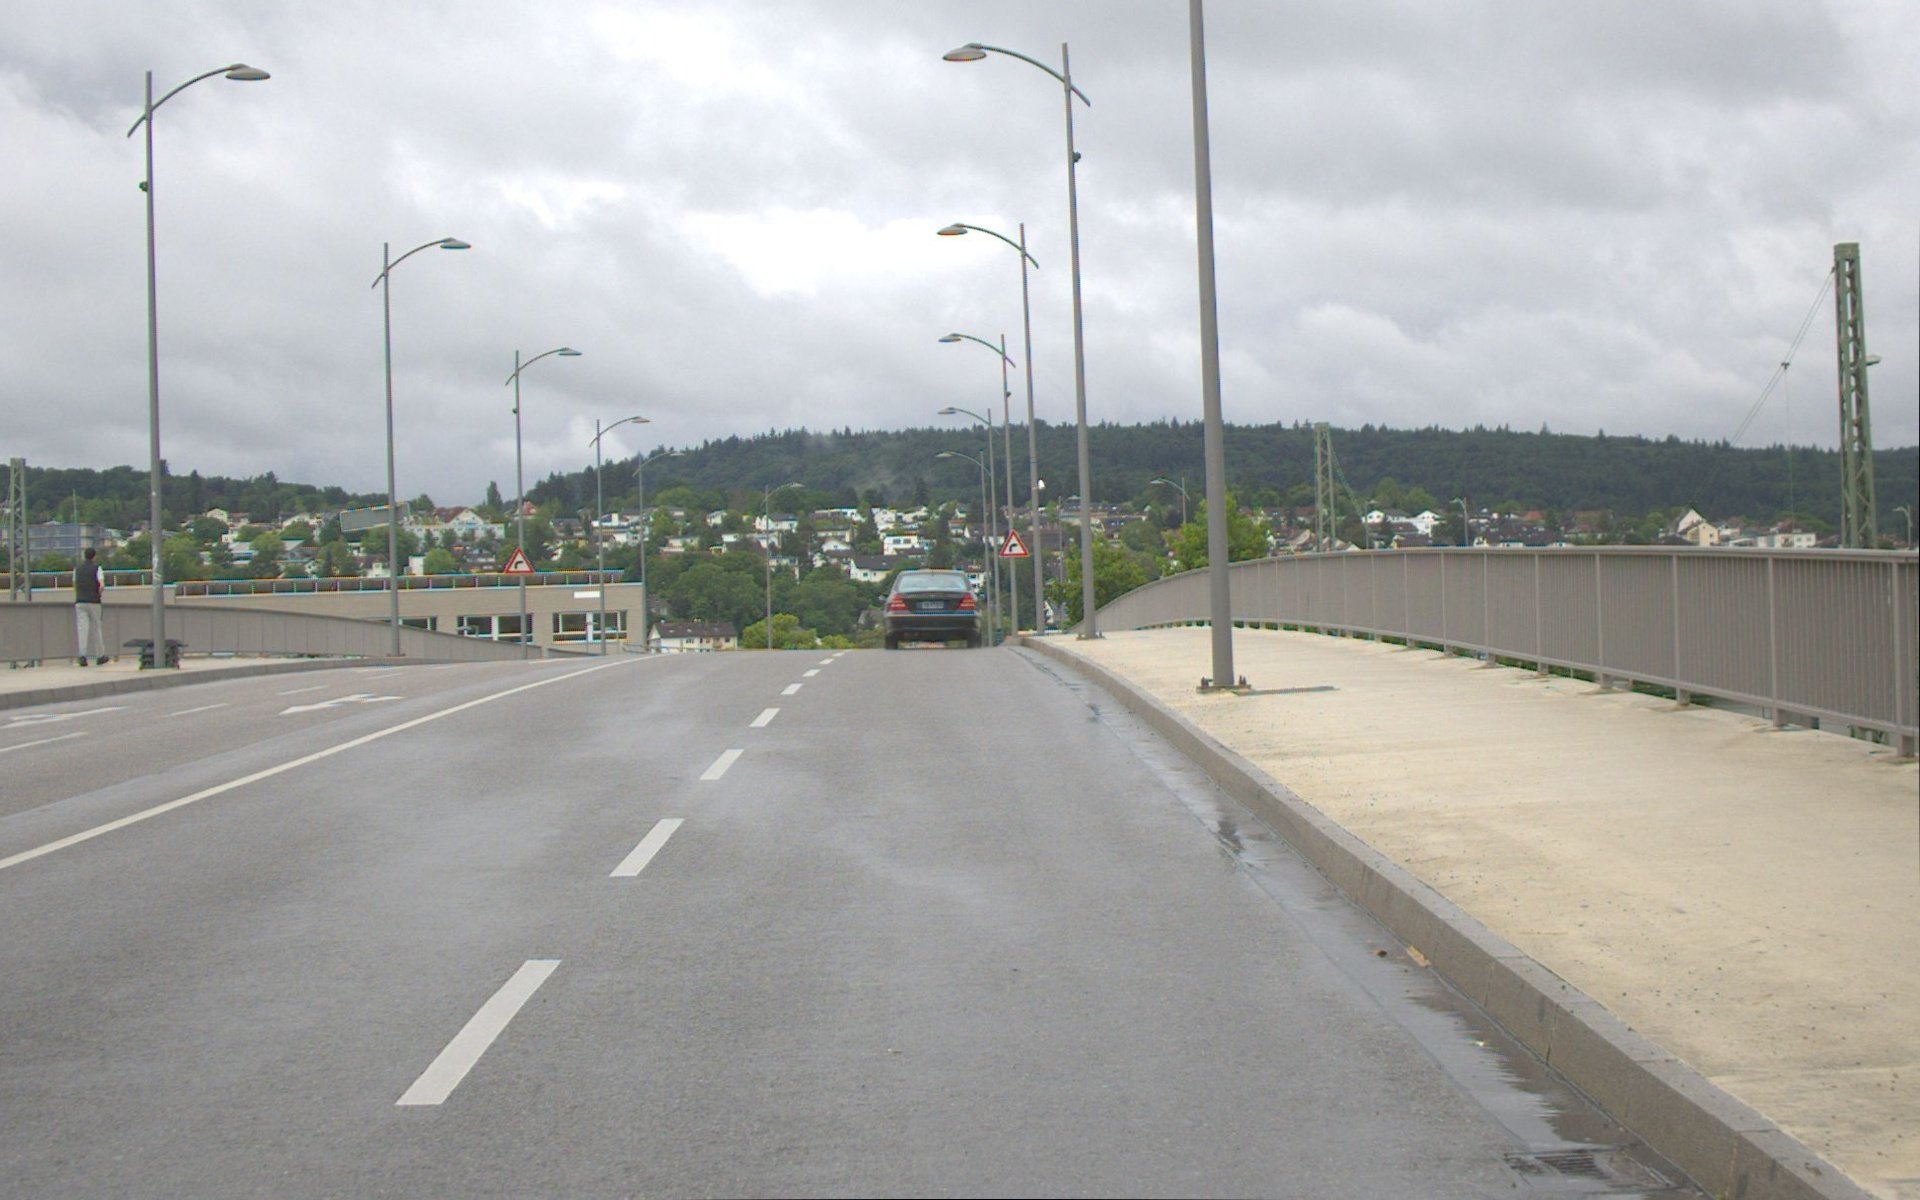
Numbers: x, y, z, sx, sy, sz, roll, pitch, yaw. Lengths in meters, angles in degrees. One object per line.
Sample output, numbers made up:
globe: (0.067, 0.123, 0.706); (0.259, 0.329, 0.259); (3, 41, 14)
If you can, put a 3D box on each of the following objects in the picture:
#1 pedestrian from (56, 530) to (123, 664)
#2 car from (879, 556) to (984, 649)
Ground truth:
pedestrian: (-13.566, -0.035, 53.593); (0.756, 2.041, 0.891); (-2, -2, -1)
car: (-0.500, 0.073, 60.774); (1.754, 1.474, 4.000); (-2, -2, 0)
